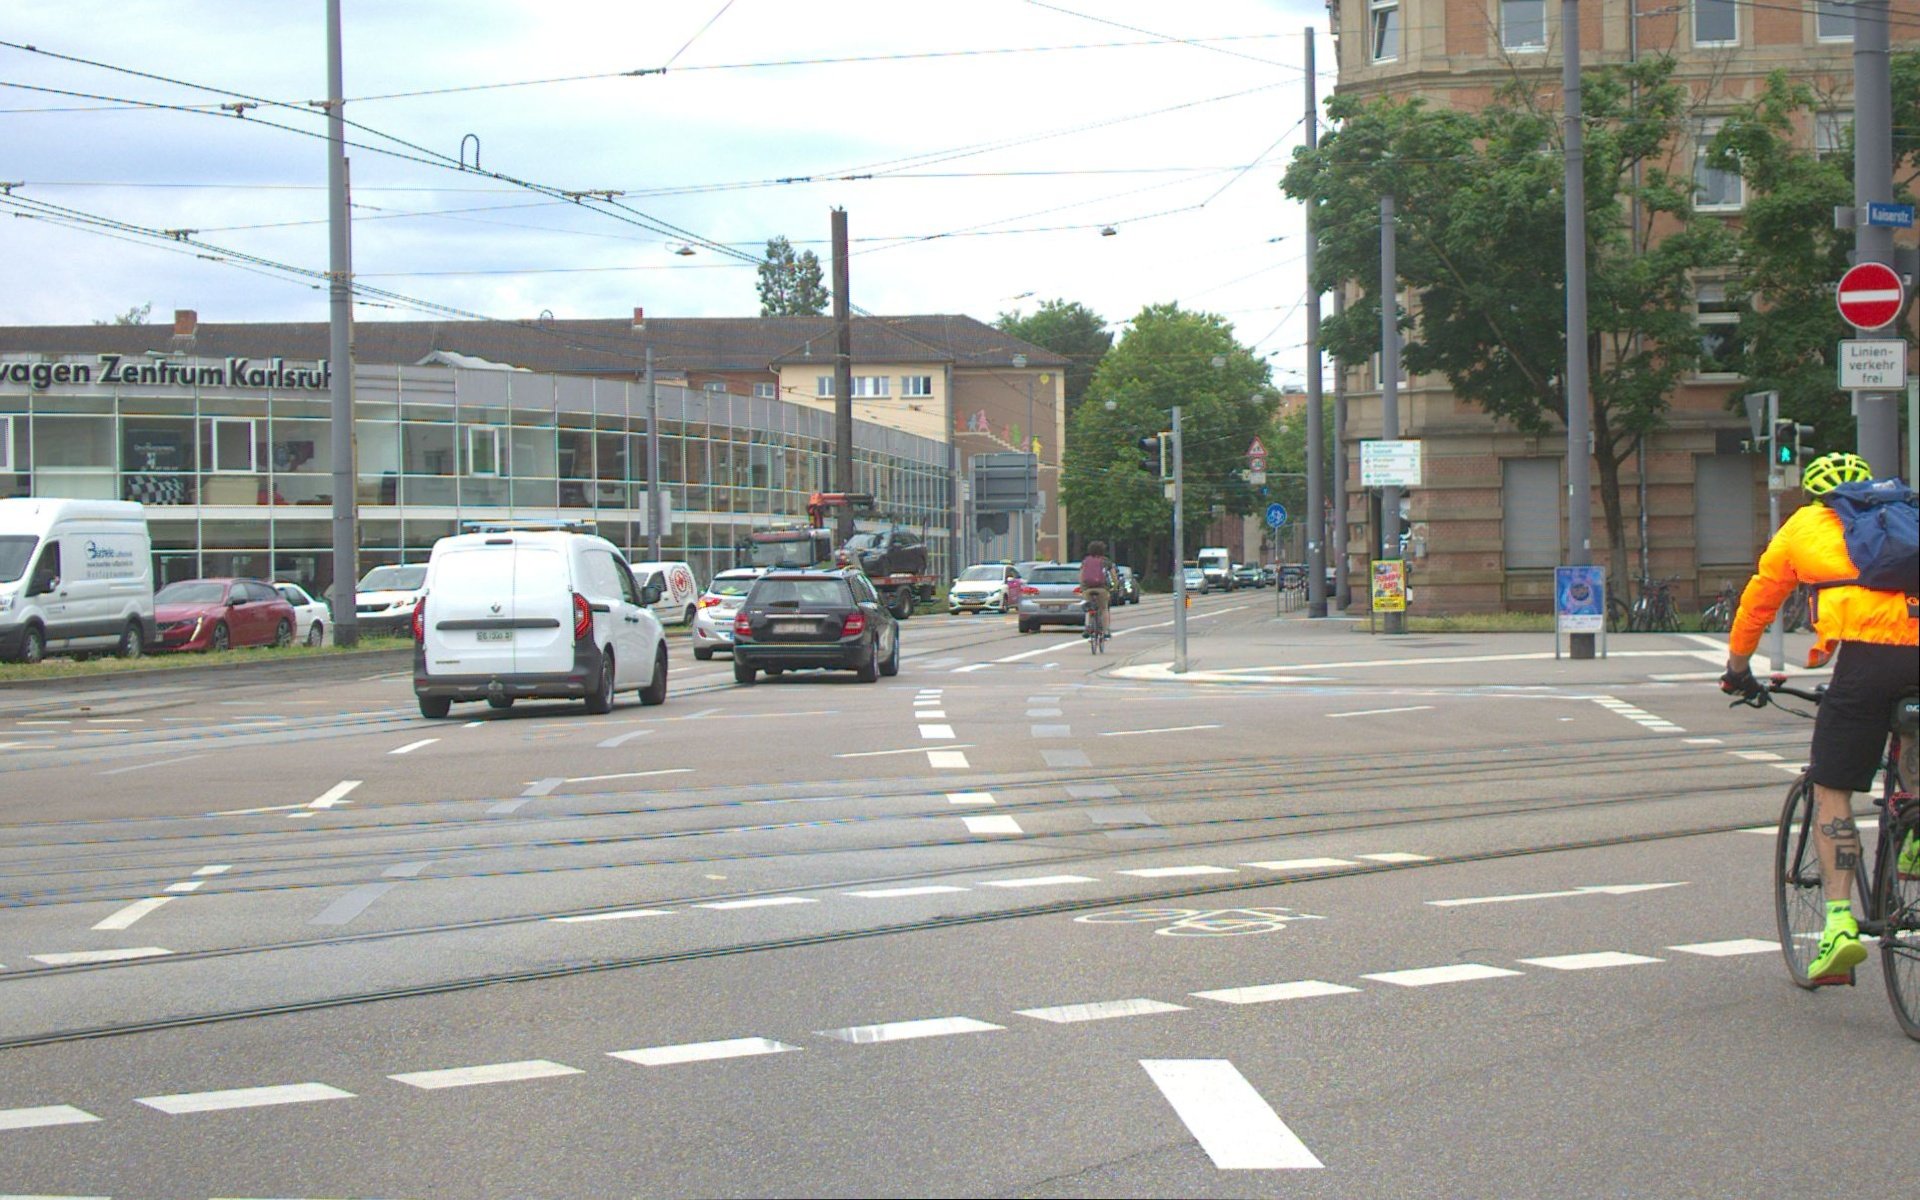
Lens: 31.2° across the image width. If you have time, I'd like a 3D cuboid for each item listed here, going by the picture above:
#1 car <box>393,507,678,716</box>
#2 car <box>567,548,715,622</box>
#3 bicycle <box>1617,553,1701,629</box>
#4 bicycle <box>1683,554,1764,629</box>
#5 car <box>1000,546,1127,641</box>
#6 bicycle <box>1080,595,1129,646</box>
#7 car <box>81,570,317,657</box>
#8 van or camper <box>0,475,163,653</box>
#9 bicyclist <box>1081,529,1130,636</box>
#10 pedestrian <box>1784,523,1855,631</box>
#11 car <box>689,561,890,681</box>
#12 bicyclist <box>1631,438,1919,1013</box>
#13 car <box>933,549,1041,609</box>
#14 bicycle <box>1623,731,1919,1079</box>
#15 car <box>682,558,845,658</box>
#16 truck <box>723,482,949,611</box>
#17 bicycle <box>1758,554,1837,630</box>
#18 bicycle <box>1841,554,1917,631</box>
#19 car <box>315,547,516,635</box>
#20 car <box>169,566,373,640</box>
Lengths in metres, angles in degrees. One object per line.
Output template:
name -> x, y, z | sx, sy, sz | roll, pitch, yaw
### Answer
car -> -4.118, 0.084, 34.043 | 1.913, 1.933, 4.130 | -1, 1, 6
car -> -8.087, -0.403, 87.593 | 1.995, 1.832, 4.518 | 0, 1, 20
bicycle -> 12.859, -0.165, 63.164 | 0.959, 1.349, 3.117 | 0, 0, 22
bicycle -> 13.978, -0.156, 62.845 | 0.959, 1.349, 3.117 | 0, 0, 22
car -> 2.271, -0.145, 74.384 | 1.995, 2.007, 3.998 | 0, 0, 13
bicycle -> 2.336, 0.325, 55.681 | 0.619, 0.791, 1.592 | -1, 1, -3
car -> -13.192, 0.206, 59.937 | 1.995, 1.415, 4.798 | 0, 1, 15
van or camper -> -14.663, -0.540, 53.311 | 2.416, 2.602, 6.049 | 0, 0, 9
bicyclist -> 2.352, -0.284, 55.653 | 0.687, 1.702, 0.798 | -1, 0, -3
pedestrian -> 13.767, -0.371, 55.063 | 0.909, 1.722, 0.603 | -1, 0, -11
car -> -2.096, 0.231, 43.289 | 1.994, 1.415, 3.999 | -1, 1, 5
bicyclist -> 2.681, 0.344, 10.400 | 0.827, 1.615, 1.322 | -1, 0, -11
car -> 0.892, -0.679, 109.247 | 1.995, 1.832, 4.518 | 0, 1, 20
bicycle -> 2.669, 0.871, 10.426 | 0.556, 0.845, 2.074 | -1, 0, -11
car -> -3.075, 0.112, 54.482 | 1.853, 1.503, 3.999 | 0, 0, 8
truck -> -3.472, -1.481, 99.353 | 2.797, 3.537, 9.212 | 0, 0, 24
bicycle -> 15.245, -0.146, 62.504 | 0.959, 1.349, 3.117 | 0, 0, 22
bicycle -> 16.718, -0.136, 62.480 | 0.959, 1.349, 3.117 | 0, 0, 22
car -> -11.995, -0.229, 76.106 | 2.158, 1.850, 5.443 | 0, 1, 18
car -> -13.954, 0.041, 69.900 | 1.995, 1.415, 4.746 | 0, 1, 18
